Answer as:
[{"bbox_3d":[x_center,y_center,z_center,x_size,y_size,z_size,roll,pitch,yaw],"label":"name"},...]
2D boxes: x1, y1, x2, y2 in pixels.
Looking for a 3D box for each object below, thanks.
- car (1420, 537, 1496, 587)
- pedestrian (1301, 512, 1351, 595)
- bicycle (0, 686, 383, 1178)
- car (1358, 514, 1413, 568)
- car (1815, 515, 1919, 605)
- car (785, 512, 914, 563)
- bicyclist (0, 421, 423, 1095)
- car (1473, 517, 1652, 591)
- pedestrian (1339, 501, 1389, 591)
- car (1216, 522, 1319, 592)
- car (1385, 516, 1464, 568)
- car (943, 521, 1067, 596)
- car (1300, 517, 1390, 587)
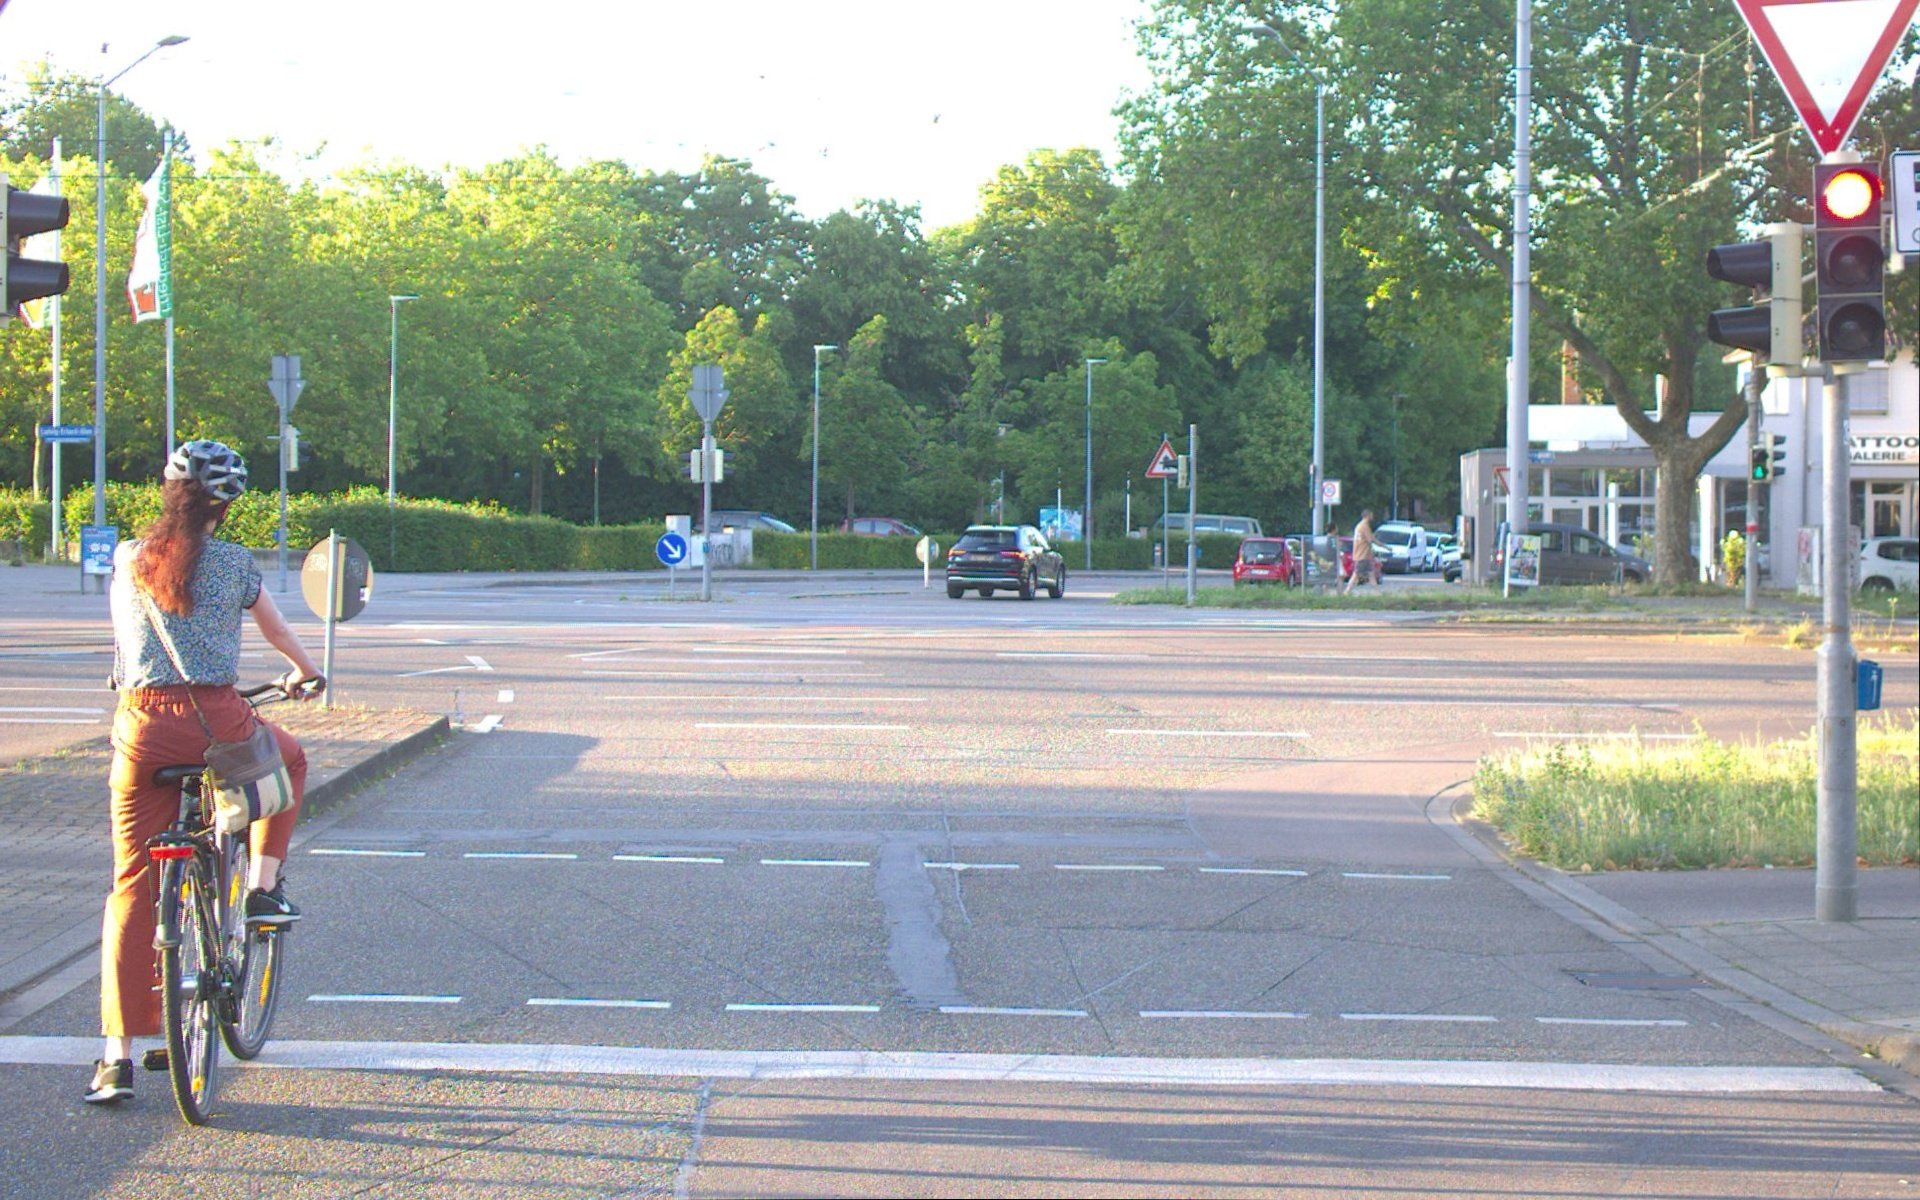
[{"bbox_3d":[16.747,-1.287,115.457,1.916,1.597,3.997,1,2,17],"label":"car"},{"bbox_3d":[7.247,-0.924,68.103,0.719,1.633,0.896,1,1,24],"label":"pedestrian"},{"bbox_3d":[-2.044,0.820,9.265,0.634,1.064,2.122,1,1,-1],"label":"bicycle"},{"bbox_3d":[16.221,-2.273,131.179,1.994,2.007,3.999,1,1,7],"label":"car"},{"bbox_3d":[20.391,-0.845,72.483,4.230,1.840,2.000,1,1,2],"label":"car"},{"bbox_3d":[-3.500,-1.999,109.517,3.987,1.555,2.000,1,1,1],"label":"car"},{"bbox_3d":[-2.043,0.393,9.271,1.031,1.712,0.996,1,1,-1],"label":"bicyclist"},{"bbox_3d":[15.574,-1.203,88.970,4.378,1.828,1.949,1,1,5],"label":"car"},{"bbox_3d":[7.945,-1.071,67.566,0.719,1.748,0.896,1,1,24],"label":"pedestrian"},{"bbox_3d":[8.584,-1.219,95.707,1.870,1.868,3.870,1,2,21],"label":"car"},{"bbox_3d":[18.346,-2.290,135.756,1.996,2.007,3.995,1,2,24],"label":"car"},{"bbox_3d":[1.004,-0.875,73.845,1.756,1.535,4.398,1,0,13],"label":"car"},{"bbox_3d":[11.596,-1.464,103.320,1.916,2.040,3.997,1,2,17],"label":"car"}]
